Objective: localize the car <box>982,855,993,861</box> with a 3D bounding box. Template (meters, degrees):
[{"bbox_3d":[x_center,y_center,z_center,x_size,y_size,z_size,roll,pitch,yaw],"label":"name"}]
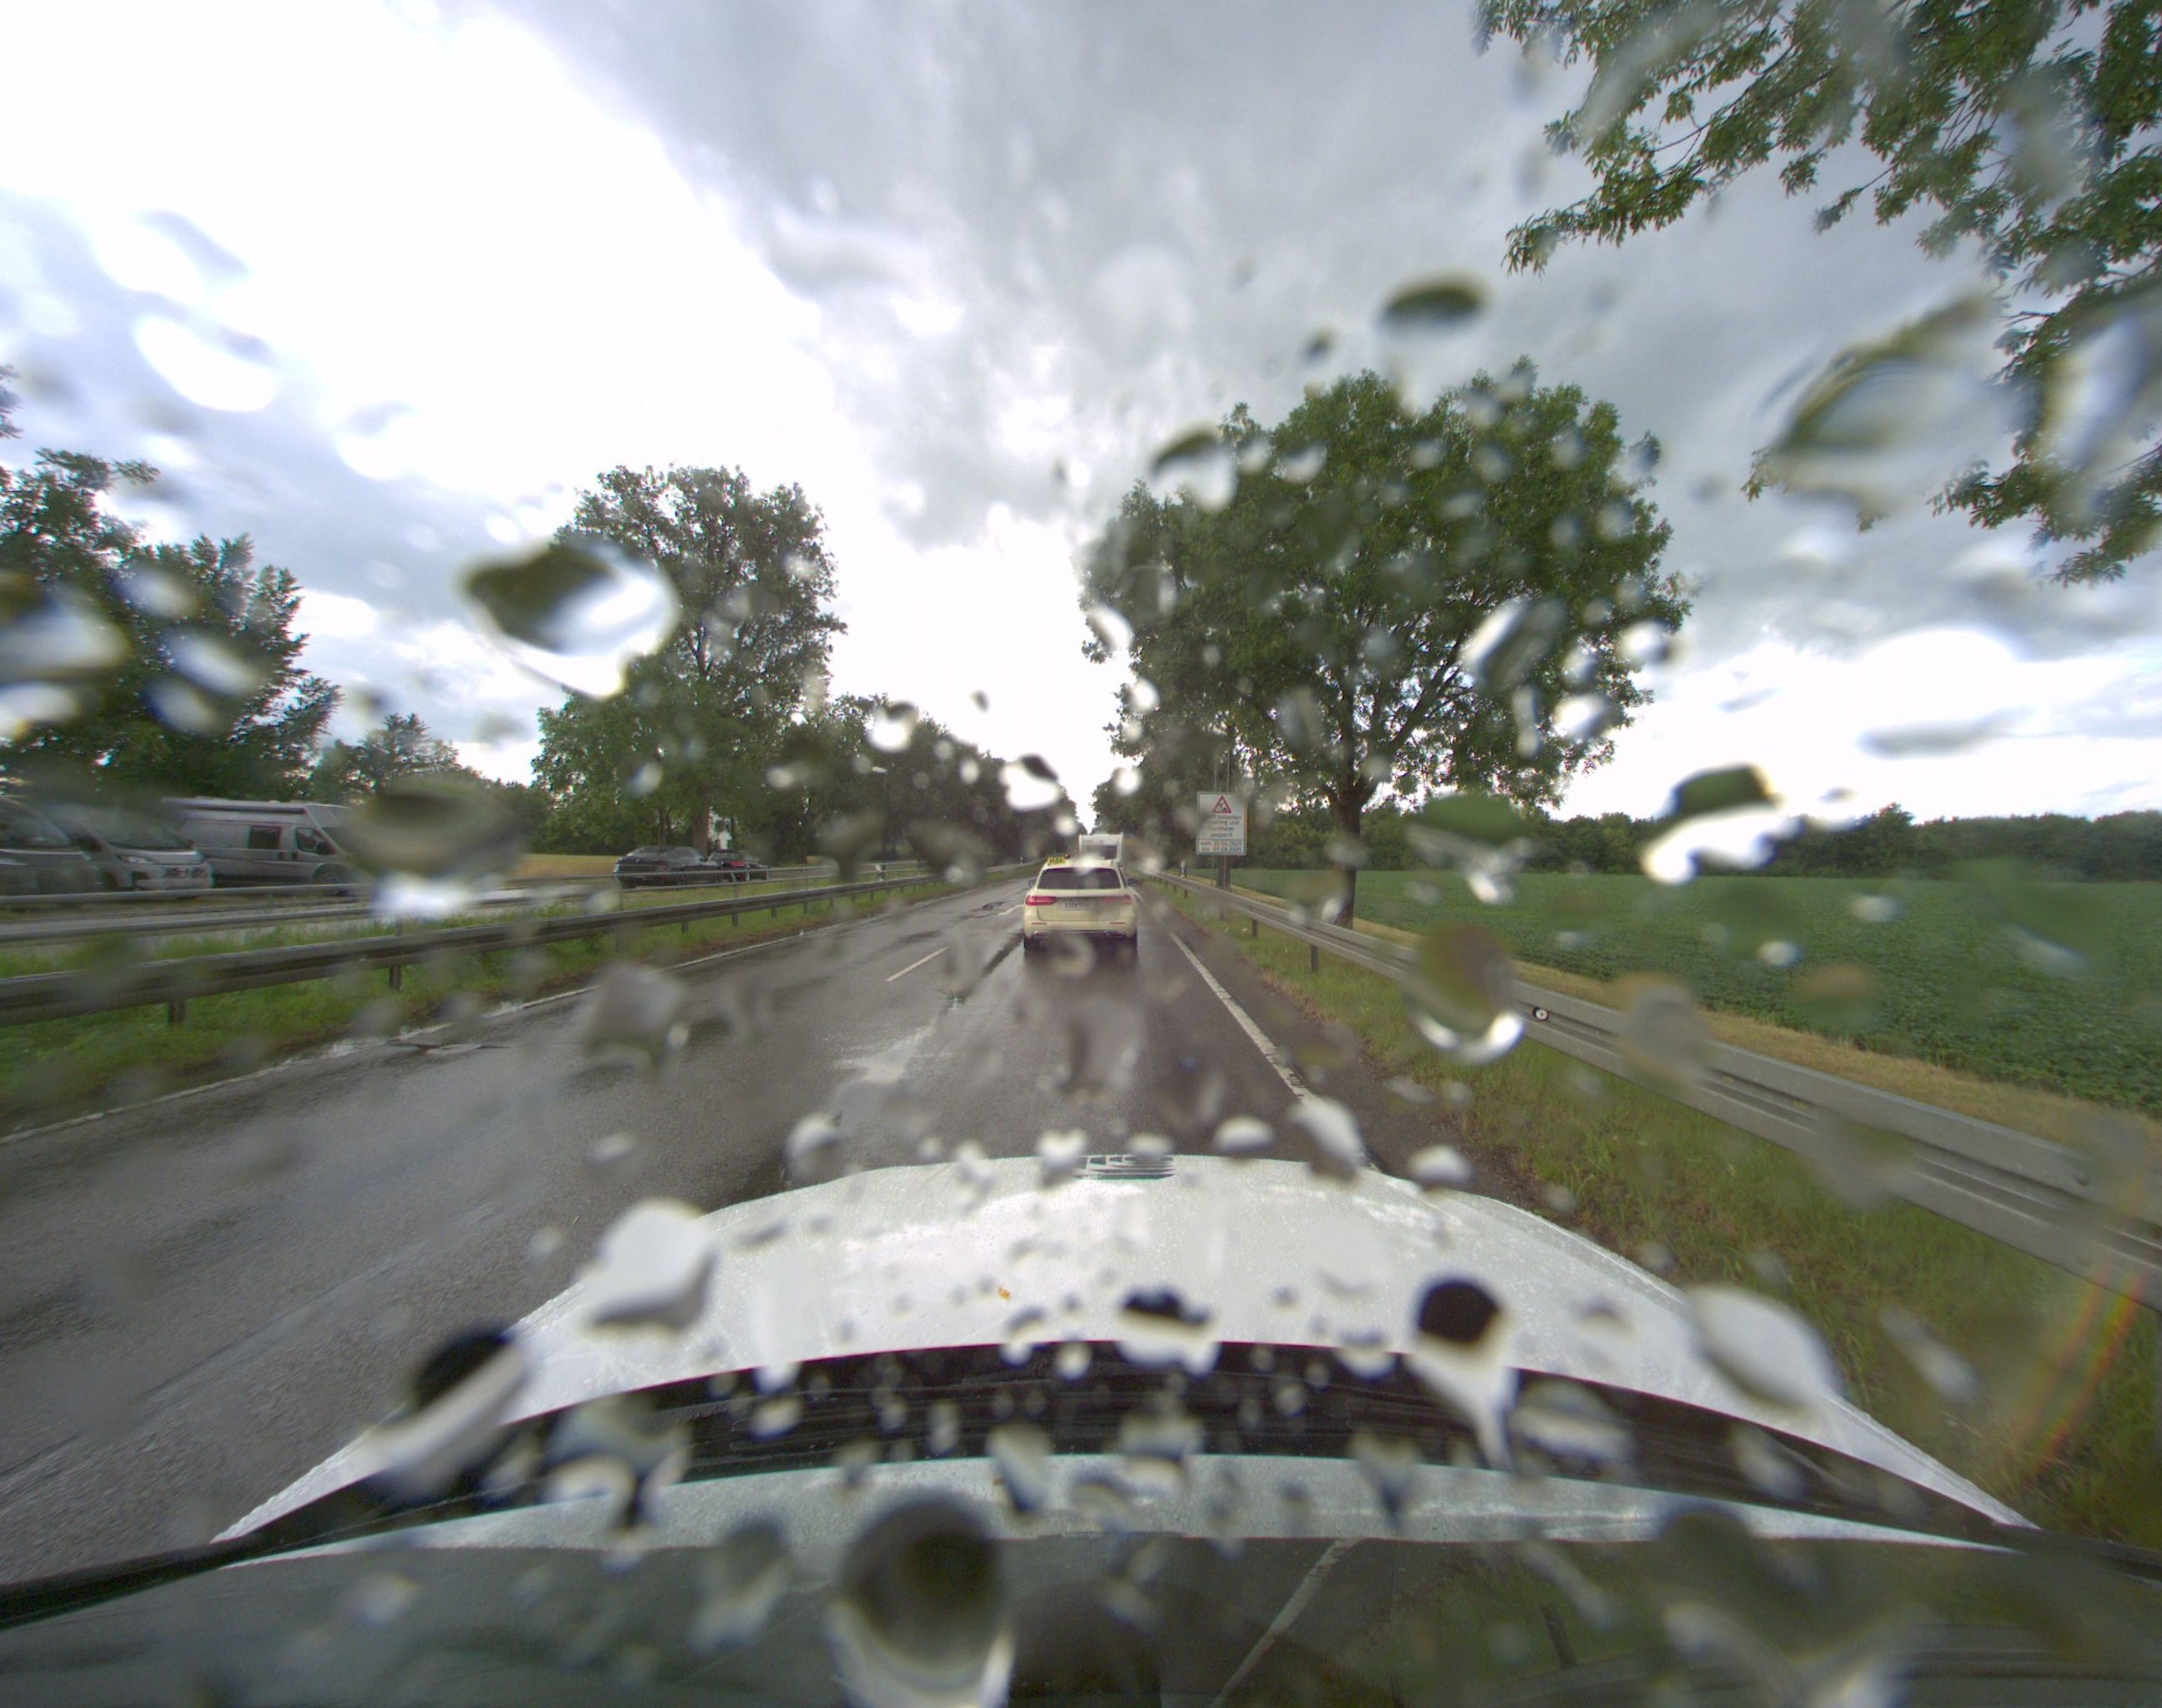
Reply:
[{"bbox_3d":[-20.985,0.934,182.390,1.778,1.416,4.003,1,0,3],"label":"car"}]

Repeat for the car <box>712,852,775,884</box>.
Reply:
[{"bbox_3d":[-14.738,0.583,35.707,1.280,1.331,3.894,0,0,-3],"label":"car"}]

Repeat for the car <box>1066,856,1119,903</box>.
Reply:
[{"bbox_3d":[0.454,0.817,27.725,1.657,1.430,4.003,-1,0,3],"label":"car"}]

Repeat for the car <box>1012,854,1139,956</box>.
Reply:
[{"bbox_3d":[0.008,0.762,14.074,1.857,1.476,4.003,-1,0,3],"label":"car"}]

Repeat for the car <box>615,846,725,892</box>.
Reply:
[{"bbox_3d":[-14.550,0.474,29.152,1.512,1.491,5.117,1,0,-3],"label":"car"}]

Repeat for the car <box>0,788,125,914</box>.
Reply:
[{"bbox_3d":[-23.813,-0.110,16.924,5.172,2.501,1.997,1,0,-4],"label":"car"}]

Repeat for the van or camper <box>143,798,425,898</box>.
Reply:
[{"bbox_3d":[-23.137,-0.161,23.864,5.863,2.677,2.078,1,0,-4],"label":"van or camper"}]

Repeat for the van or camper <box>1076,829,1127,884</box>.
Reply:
[{"bbox_3d":[1.155,0.118,43.225,2.479,2.685,5.704,0,0,3],"label":"van or camper"}]

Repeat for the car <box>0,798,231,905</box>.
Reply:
[{"bbox_3d":[-24.772,-0.078,20.212,5.077,2.459,1.999,1,0,-2],"label":"car"}]

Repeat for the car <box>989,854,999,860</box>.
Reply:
[{"bbox_3d":[-20.878,0.631,195.808,1.780,1.416,4.000,1,0,0],"label":"car"}]

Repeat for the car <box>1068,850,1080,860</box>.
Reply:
[{"bbox_3d":[-1.153,0.172,128.074,1.758,1.619,4.001,-1,0,1],"label":"car"}]
